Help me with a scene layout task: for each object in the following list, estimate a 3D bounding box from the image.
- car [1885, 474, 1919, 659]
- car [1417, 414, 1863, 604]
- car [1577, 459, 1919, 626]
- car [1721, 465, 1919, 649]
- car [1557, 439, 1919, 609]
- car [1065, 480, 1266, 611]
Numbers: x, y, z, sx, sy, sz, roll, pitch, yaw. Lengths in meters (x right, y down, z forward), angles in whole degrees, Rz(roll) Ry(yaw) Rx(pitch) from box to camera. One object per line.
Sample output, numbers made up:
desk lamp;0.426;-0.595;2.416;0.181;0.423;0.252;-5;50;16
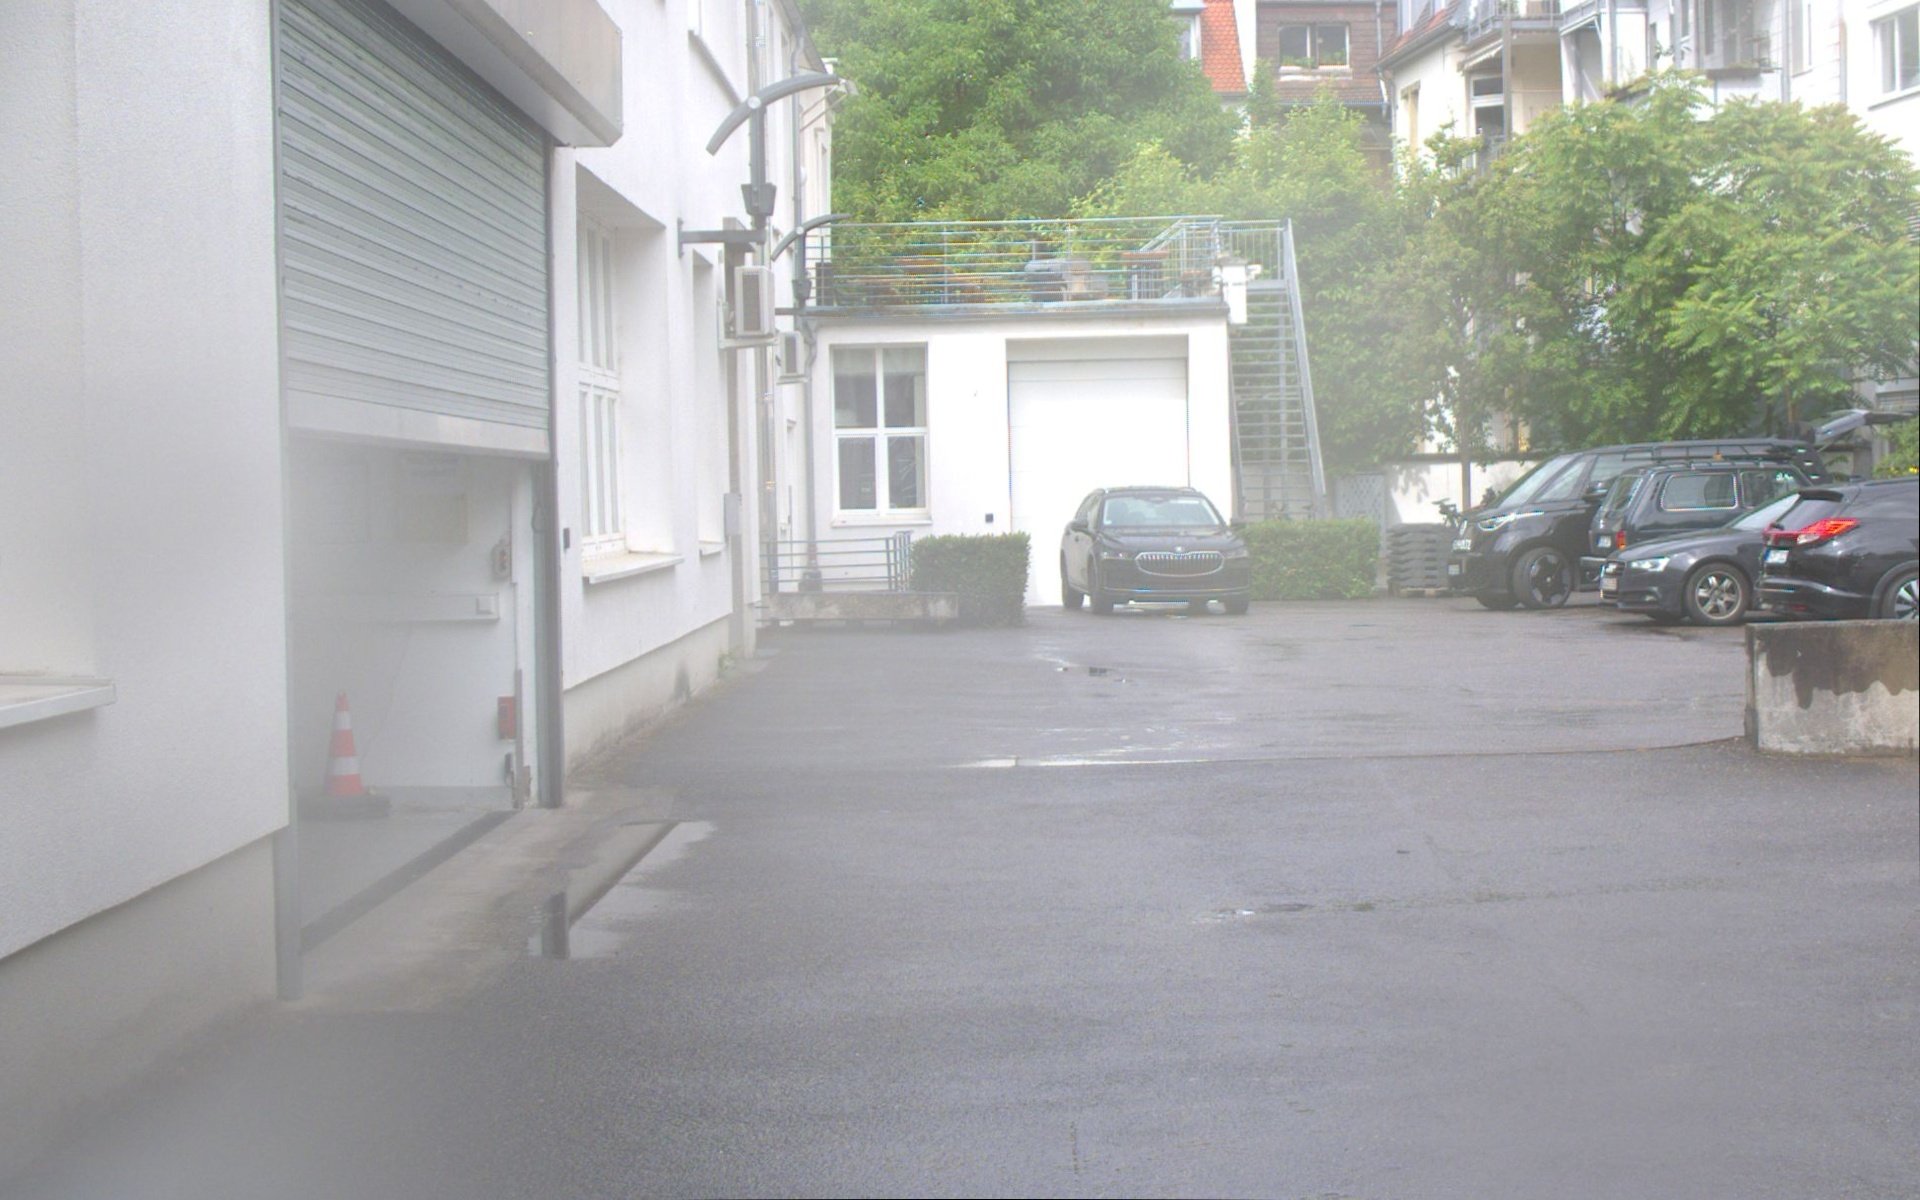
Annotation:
car;9.518;-0.335;26.927;3.986;1.453;1.773;-2;1;-5
car;8.025;-1.099;40.795;4.634;1.996;2.226;-3;2;-10
car;8.410;-0.608;34.760;3.908;1.508;1.752;-3;1;-4
car;8.918;-0.448;30.239;3.908;1.508;1.820;-3;1;-7
car;8.756;-0.851;38.031;3.908;1.681;1.817;-3;1;-1
car;2.368;-0.673;40.532;1.979;1.439;4.001;-1;2;-2
